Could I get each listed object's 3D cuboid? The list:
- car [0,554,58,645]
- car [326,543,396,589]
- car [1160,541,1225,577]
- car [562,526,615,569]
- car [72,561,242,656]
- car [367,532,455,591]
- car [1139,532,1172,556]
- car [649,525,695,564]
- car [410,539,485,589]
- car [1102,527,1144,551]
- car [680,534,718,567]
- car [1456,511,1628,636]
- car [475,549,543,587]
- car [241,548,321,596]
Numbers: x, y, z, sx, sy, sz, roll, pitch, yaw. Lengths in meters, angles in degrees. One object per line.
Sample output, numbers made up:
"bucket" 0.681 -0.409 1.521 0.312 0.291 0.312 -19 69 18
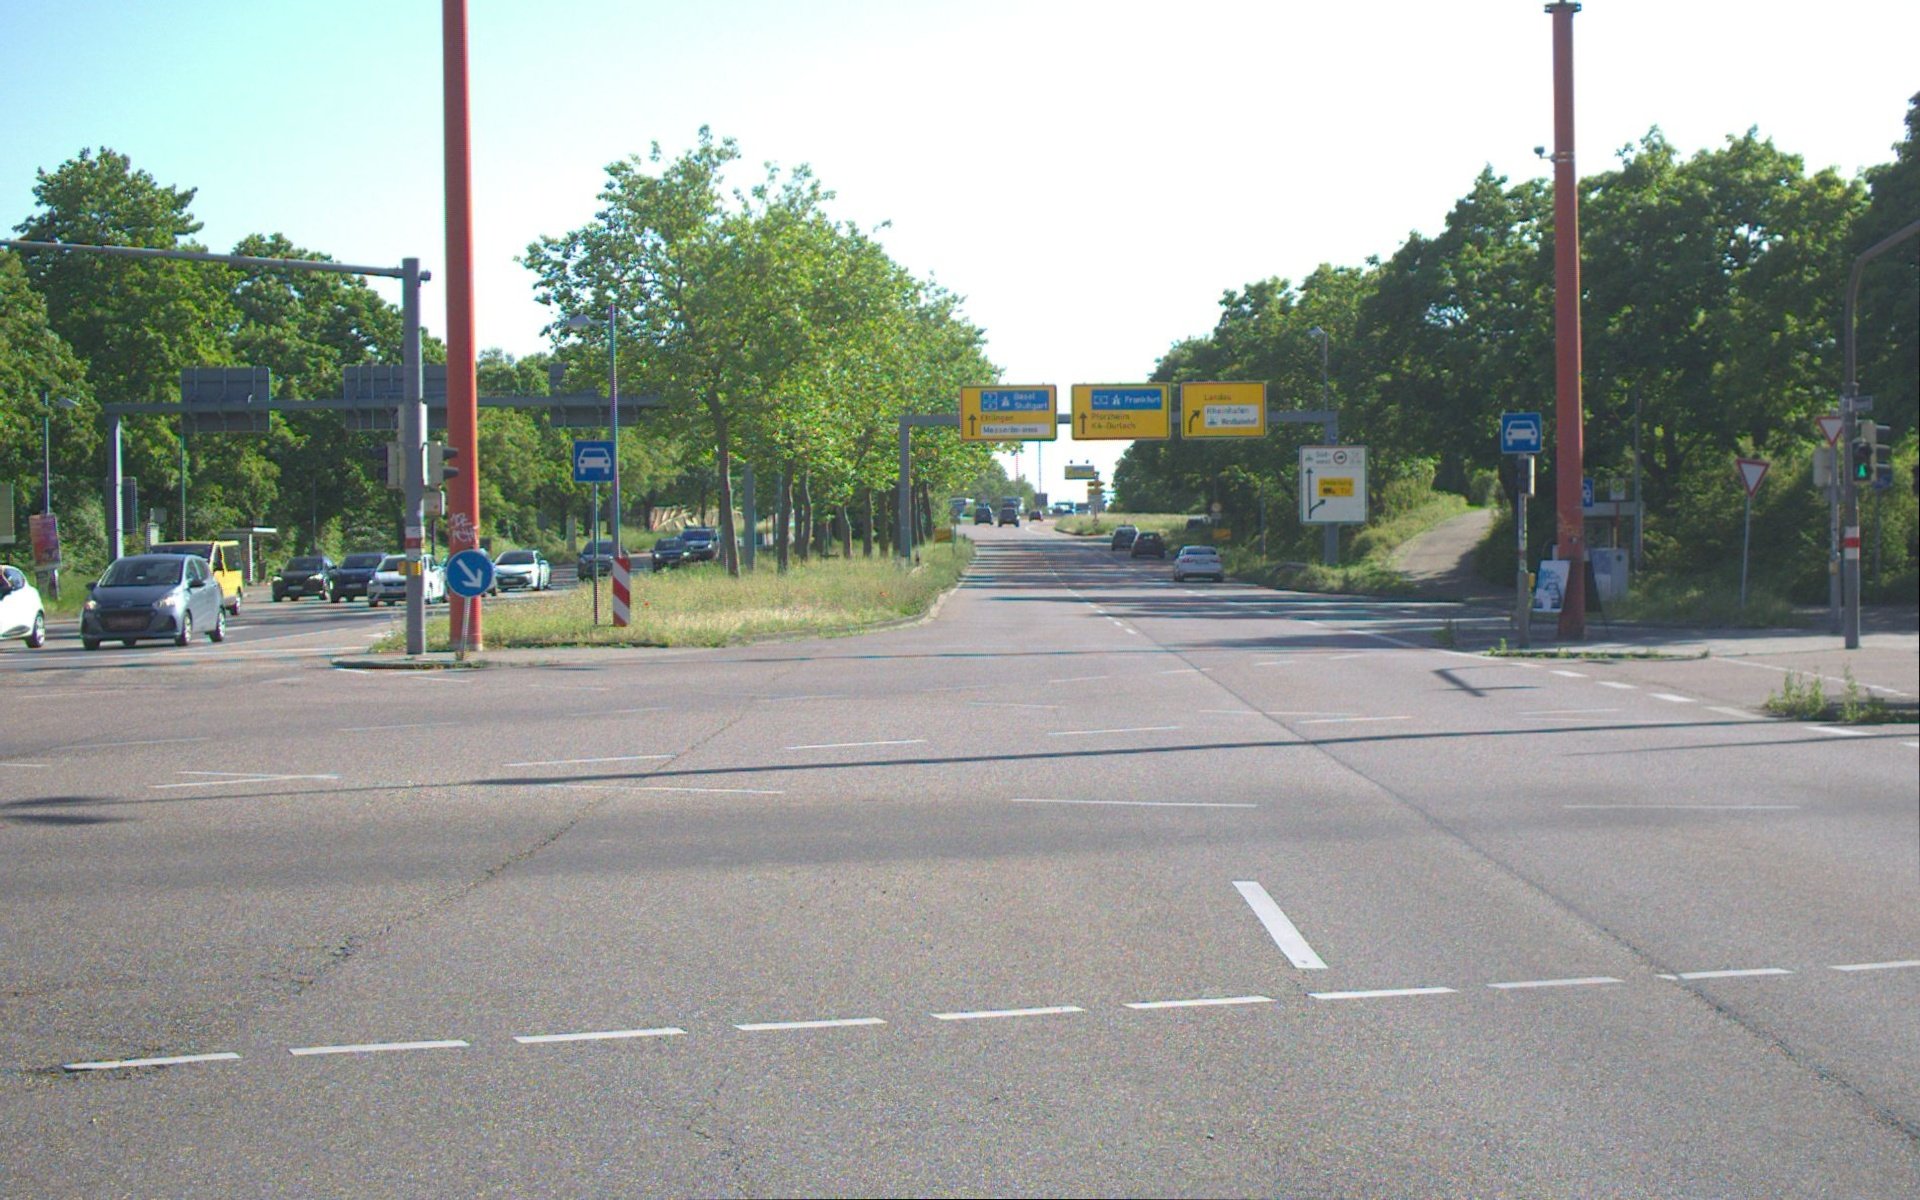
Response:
"car" -16.185 -0.020 56.464 1.605 1.454 3.950 0 1 1
"car" -19.332 -1.111 111.086 1.628 1.445 3.434 1 1 1
"car" 9.098 -1.604 134.680 2.054 1.366 4.392 0 1 -3
"car" -15.319 -2.157 141.943 1.625 1.733 4.000 0 1 1
"car" -12.992 0.116 55.845 1.701 1.416 4.000 3 0 1
"car" -15.378 -1.075 96.511 1.704 1.590 4.000 1 1 2
"car" 10.966 -3.149 193.109 1.738 1.337 3.081 -1 1 1
"car" -13.265 -2.536 158.595 1.657 1.741 4.000 1 1 2
"car" -16.163 -1.143 108.627 1.704 1.553 3.803 1 1 2
"car" 10.291 -3.869 217.360 1.993 1.491 4.001 -1 1 -6
"car" -13.654 -2.586 180.258 1.608 1.724 3.789 1 1 1
"car" 9.156 -0.439 53.872 1.995 1.881 3.996 0 1 19
"car" -15.802 -1.139 120.570 2.003 1.303 4.000 0 1 -2
"car" -23.471 -0.974 118.903 1.993 1.633 4.000 1 1 -1
